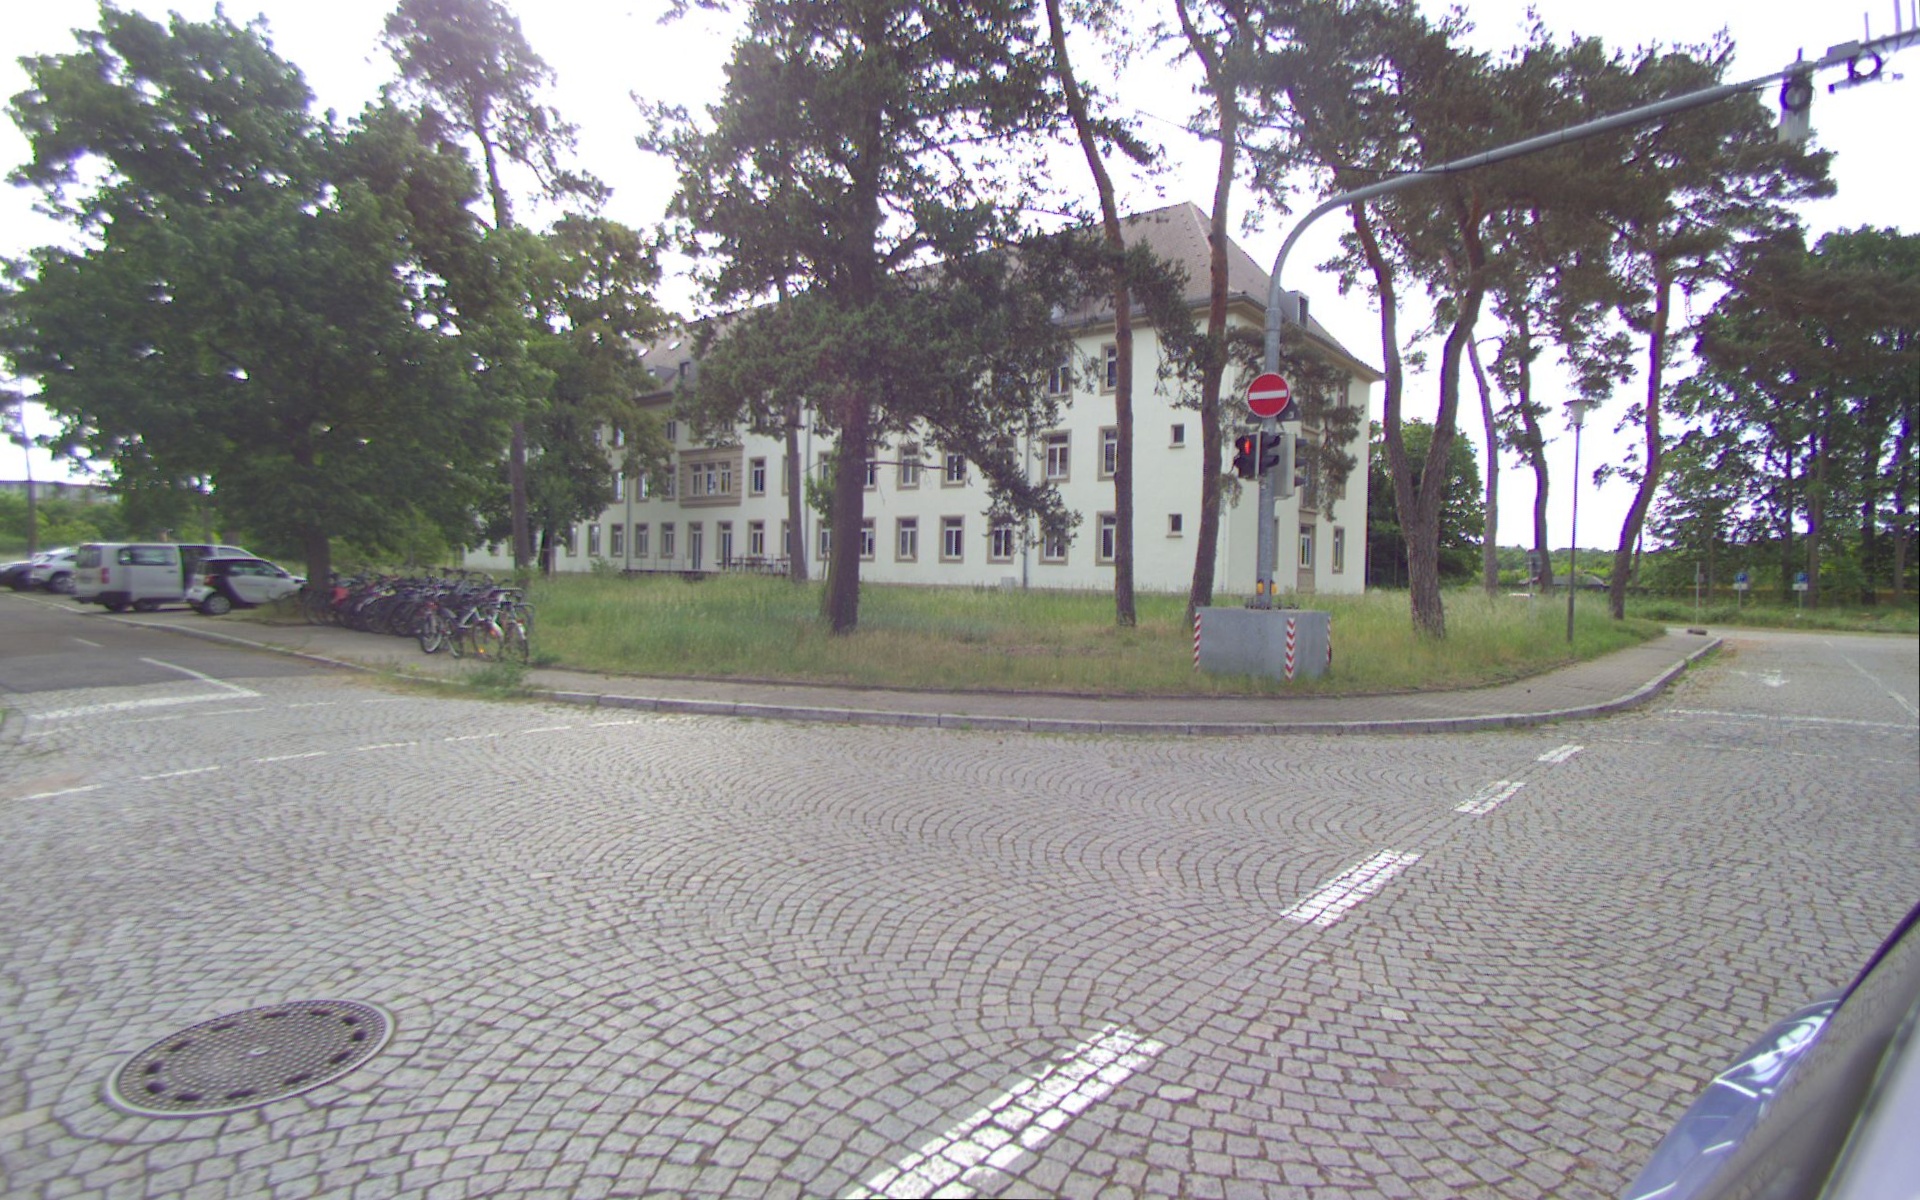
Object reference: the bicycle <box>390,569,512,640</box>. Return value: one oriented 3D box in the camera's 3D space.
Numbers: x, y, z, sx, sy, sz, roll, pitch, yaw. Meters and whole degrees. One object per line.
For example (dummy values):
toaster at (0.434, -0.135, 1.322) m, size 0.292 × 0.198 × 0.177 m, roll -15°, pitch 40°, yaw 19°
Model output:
bicycle at (-9.517, 0.088, 18.990) m, size 0.621 × 1.263 × 1.961 m, roll 2°, pitch 0°, yaw 38°

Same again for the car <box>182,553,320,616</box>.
car at (-19.281, -0.449, 27.584) m, size 1.465 × 1.577 × 2.817 m, roll 4°, pitch 3°, yaw 39°

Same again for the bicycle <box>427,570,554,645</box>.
bicycle at (-8.320, 0.133, 18.009) m, size 0.621 × 1.263 × 1.961 m, roll 2°, pitch 0°, yaw 38°

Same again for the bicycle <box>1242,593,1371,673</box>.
bicycle at (5.011, 0.447, 14.718) m, size 1.673 × 0.981 × 0.573 m, roll 5°, pitch 5°, yaw 44°

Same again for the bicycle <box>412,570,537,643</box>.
bicycle at (-8.801, 0.114, 18.410) m, size 0.621 × 1.263 × 1.961 m, roll 2°, pitch 0°, yaw 38°

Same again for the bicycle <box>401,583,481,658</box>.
bicycle at (-8.193, 0.304, 15.952) m, size 1.673 × 1.096 × 0.614 m, roll 2°, pitch 0°, yaw 44°

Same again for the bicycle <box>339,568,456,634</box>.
bicycle at (-11.360, 0.019, 20.491) m, size 0.621 × 1.263 × 1.961 m, roll 2°, pitch 0°, yaw 38°

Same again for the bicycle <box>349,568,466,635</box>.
bicycle at (-11.046, 0.030, 20.292) m, size 0.621 × 1.263 × 1.961 m, roll 2°, pitch 0°, yaw 38°

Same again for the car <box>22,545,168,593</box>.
car at (-32.758, -1.160, 38.395) m, size 1.673 × 1.739 × 3.988 m, roll 2°, pitch 2°, yaw 38°

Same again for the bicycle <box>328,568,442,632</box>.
bicycle at (-11.881, -0.001, 20.967) m, size 0.621 × 1.263 × 1.961 m, roll 2°, pitch 0°, yaw 38°

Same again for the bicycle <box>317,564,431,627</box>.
bicycle at (-12.286, -0.080, 21.277) m, size 0.621 × 1.263 × 1.961 m, roll 2°, pitch 0°, yaw 38°

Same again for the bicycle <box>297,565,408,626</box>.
bicycle at (-13.177, -0.129, 21.999) m, size 0.621 × 1.263 × 1.962 m, roll 2°, pitch 3°, yaw 38°

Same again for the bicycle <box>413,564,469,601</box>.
bicycle at (-16.184, -0.537, 31.578) m, size 0.399 × 1.138 × 1.531 m, roll 2°, pitch 1°, yaw 41°

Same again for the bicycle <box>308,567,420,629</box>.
bicycle at (-12.675, -0.031, 21.579) m, size 0.621 × 1.263 × 1.961 m, roll 2°, pitch 0°, yaw 38°

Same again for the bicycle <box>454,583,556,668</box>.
bicycle at (-6.658, 0.345, 14.756) m, size 1.982 × 1.127 × 0.614 m, roll 2°, pitch 0°, yaw 43°

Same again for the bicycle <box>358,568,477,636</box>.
bicycle at (-10.655, 0.045, 19.945) m, size 0.621 × 1.263 × 1.961 m, roll 2°, pitch 0°, yaw 38°

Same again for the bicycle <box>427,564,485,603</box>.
bicycle at (-15.293, -0.499, 30.734) m, size 0.399 × 1.138 × 1.531 m, roll 2°, pitch 1°, yaw 41°

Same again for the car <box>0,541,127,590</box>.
car at (-35.563, -1.344, 39.891) m, size 1.673 × 1.821 × 3.988 m, roll 2°, pitch 2°, yaw 38°

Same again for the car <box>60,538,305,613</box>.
car at (-22.313, -0.737, 29.340) m, size 2.128 × 1.939 × 5.277 m, roll 2°, pitch 2°, yaw 25°

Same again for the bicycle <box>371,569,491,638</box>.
bicycle at (-10.175, 0.063, 19.537) m, size 0.621 × 1.263 × 1.961 m, roll 2°, pitch 0°, yaw 38°

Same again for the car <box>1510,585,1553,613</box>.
car at (31.941, -0.053, 56.518) m, size 1.482 × 1.455 × 3.148 m, roll 2°, pitch 0°, yaw 41°
